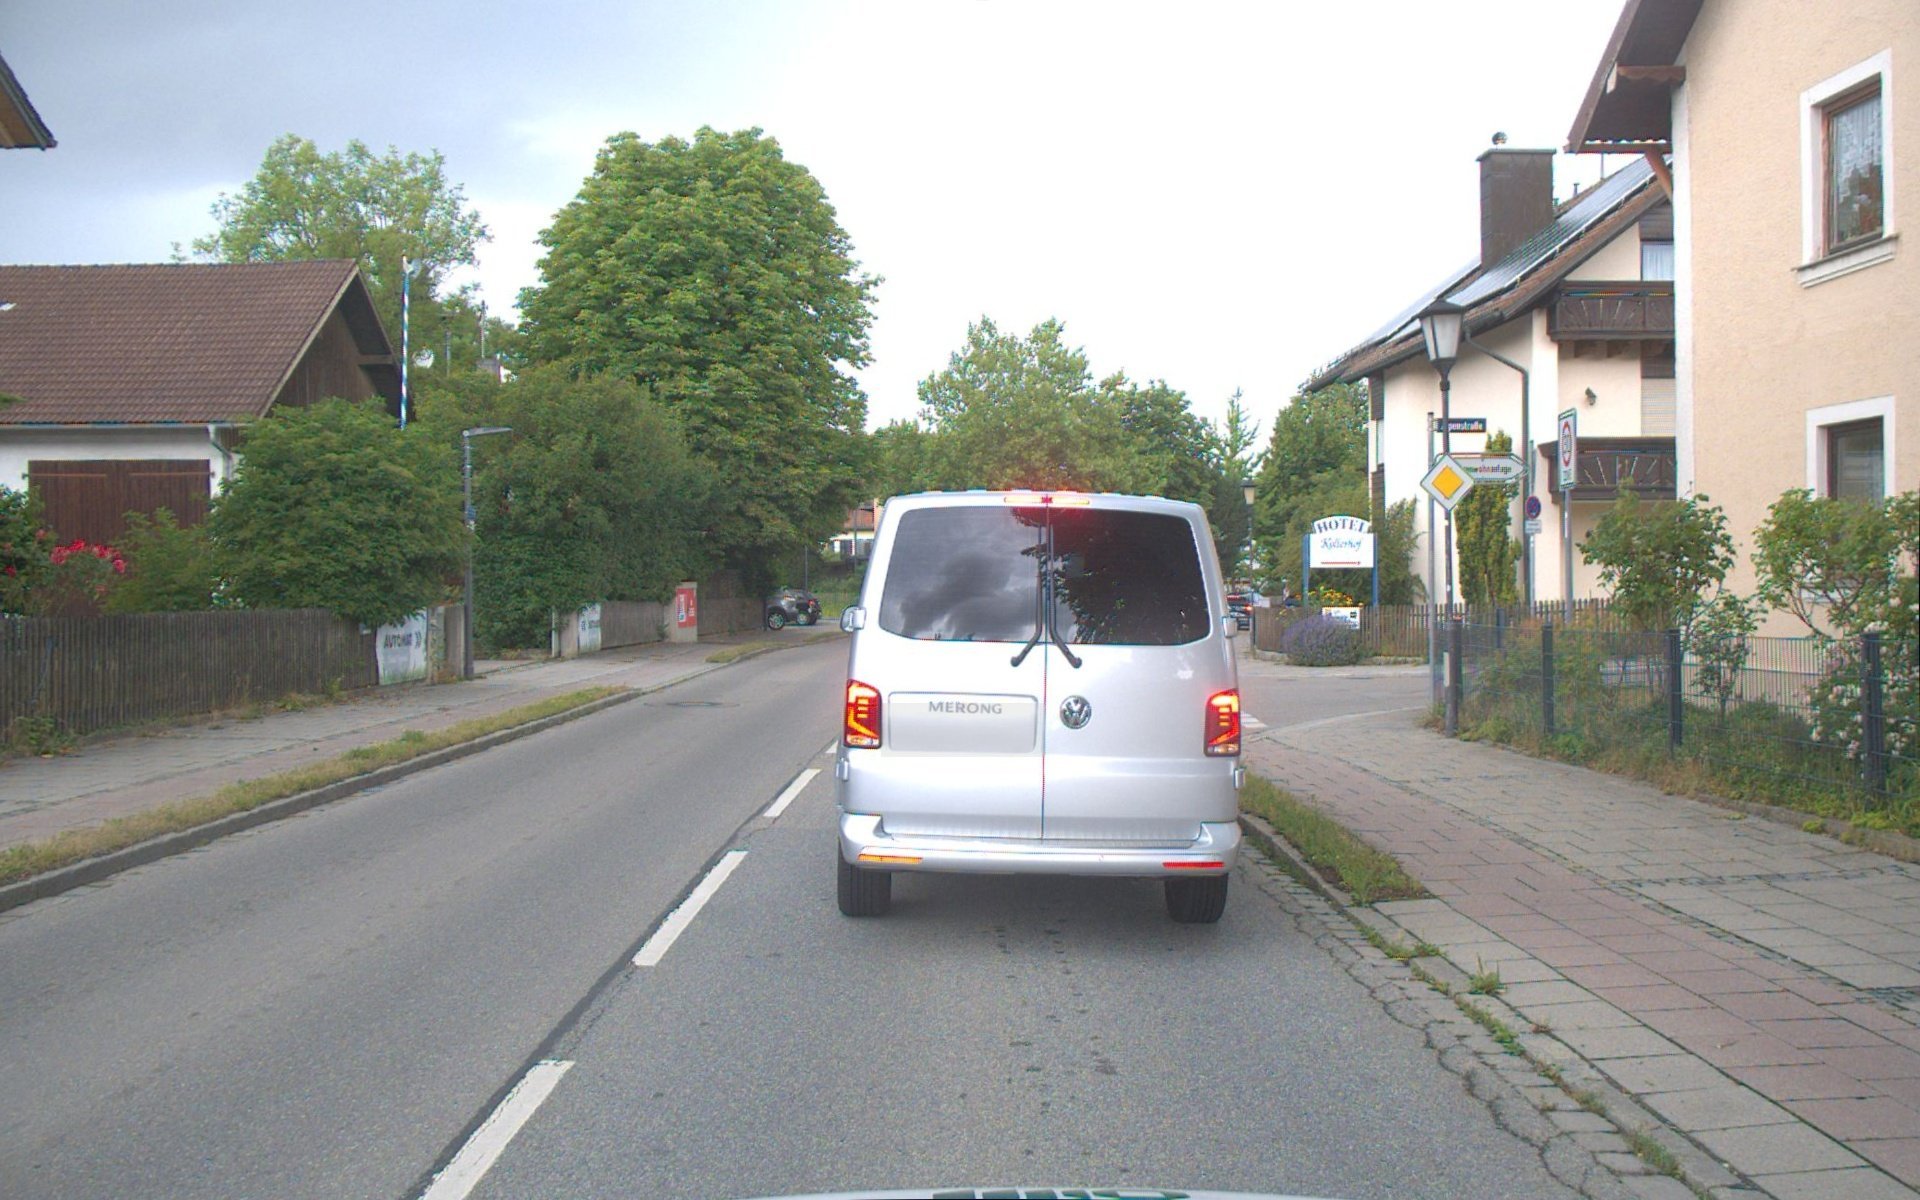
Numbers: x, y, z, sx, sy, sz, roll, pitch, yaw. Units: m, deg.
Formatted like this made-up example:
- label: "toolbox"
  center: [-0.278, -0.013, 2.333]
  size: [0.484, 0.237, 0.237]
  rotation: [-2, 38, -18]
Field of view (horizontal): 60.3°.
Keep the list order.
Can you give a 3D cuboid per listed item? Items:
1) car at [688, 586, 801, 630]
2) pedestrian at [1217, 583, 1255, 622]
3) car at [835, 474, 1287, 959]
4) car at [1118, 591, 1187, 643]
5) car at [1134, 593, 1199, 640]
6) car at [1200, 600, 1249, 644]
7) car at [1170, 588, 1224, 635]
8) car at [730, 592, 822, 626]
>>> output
- label: "car"
  center: [-7.621, 0.284, 58.461]
  size: [3.913, 1.512, 1.996]
  rotation: [0, 0, -9]
- label: "pedestrian"
  center: [14.783, 0.122, 88.690]
  size: [1.350, 2.049, 1.499]
  rotation: [0, 0, -40]
- label: "car"
  center: [0.412, 0.468, 8.732]
  size: [1.843, 1.974, 3.920]
  rotation: [0, 0, 0]
- label: "car"
  center: [6.101, 0.504, 52.117]
  size: [1.841, 1.562, 3.924]
  rotation: [0, 0, 11]
- label: "car"
  center: [7.169, 0.533, 57.031]
  size: [1.841, 1.562, 3.924]
  rotation: [0, 0, 13]
- label: "car"
  center: [11.585, 0.937, 72.359]
  size: [1.841, 1.857, 3.924]
  rotation: [0, 0, 13]
- label: "car"
  center: [9.415, 0.421, 65.482]
  size: [1.841, 1.779, 4.084]
  rotation: [-1, 0, 11]
- label: "car"
  center: [-7.621, 0.363, 68.498]
  size: [3.683, 1.369, 1.579]
  rotation: [0, 0, -11]
